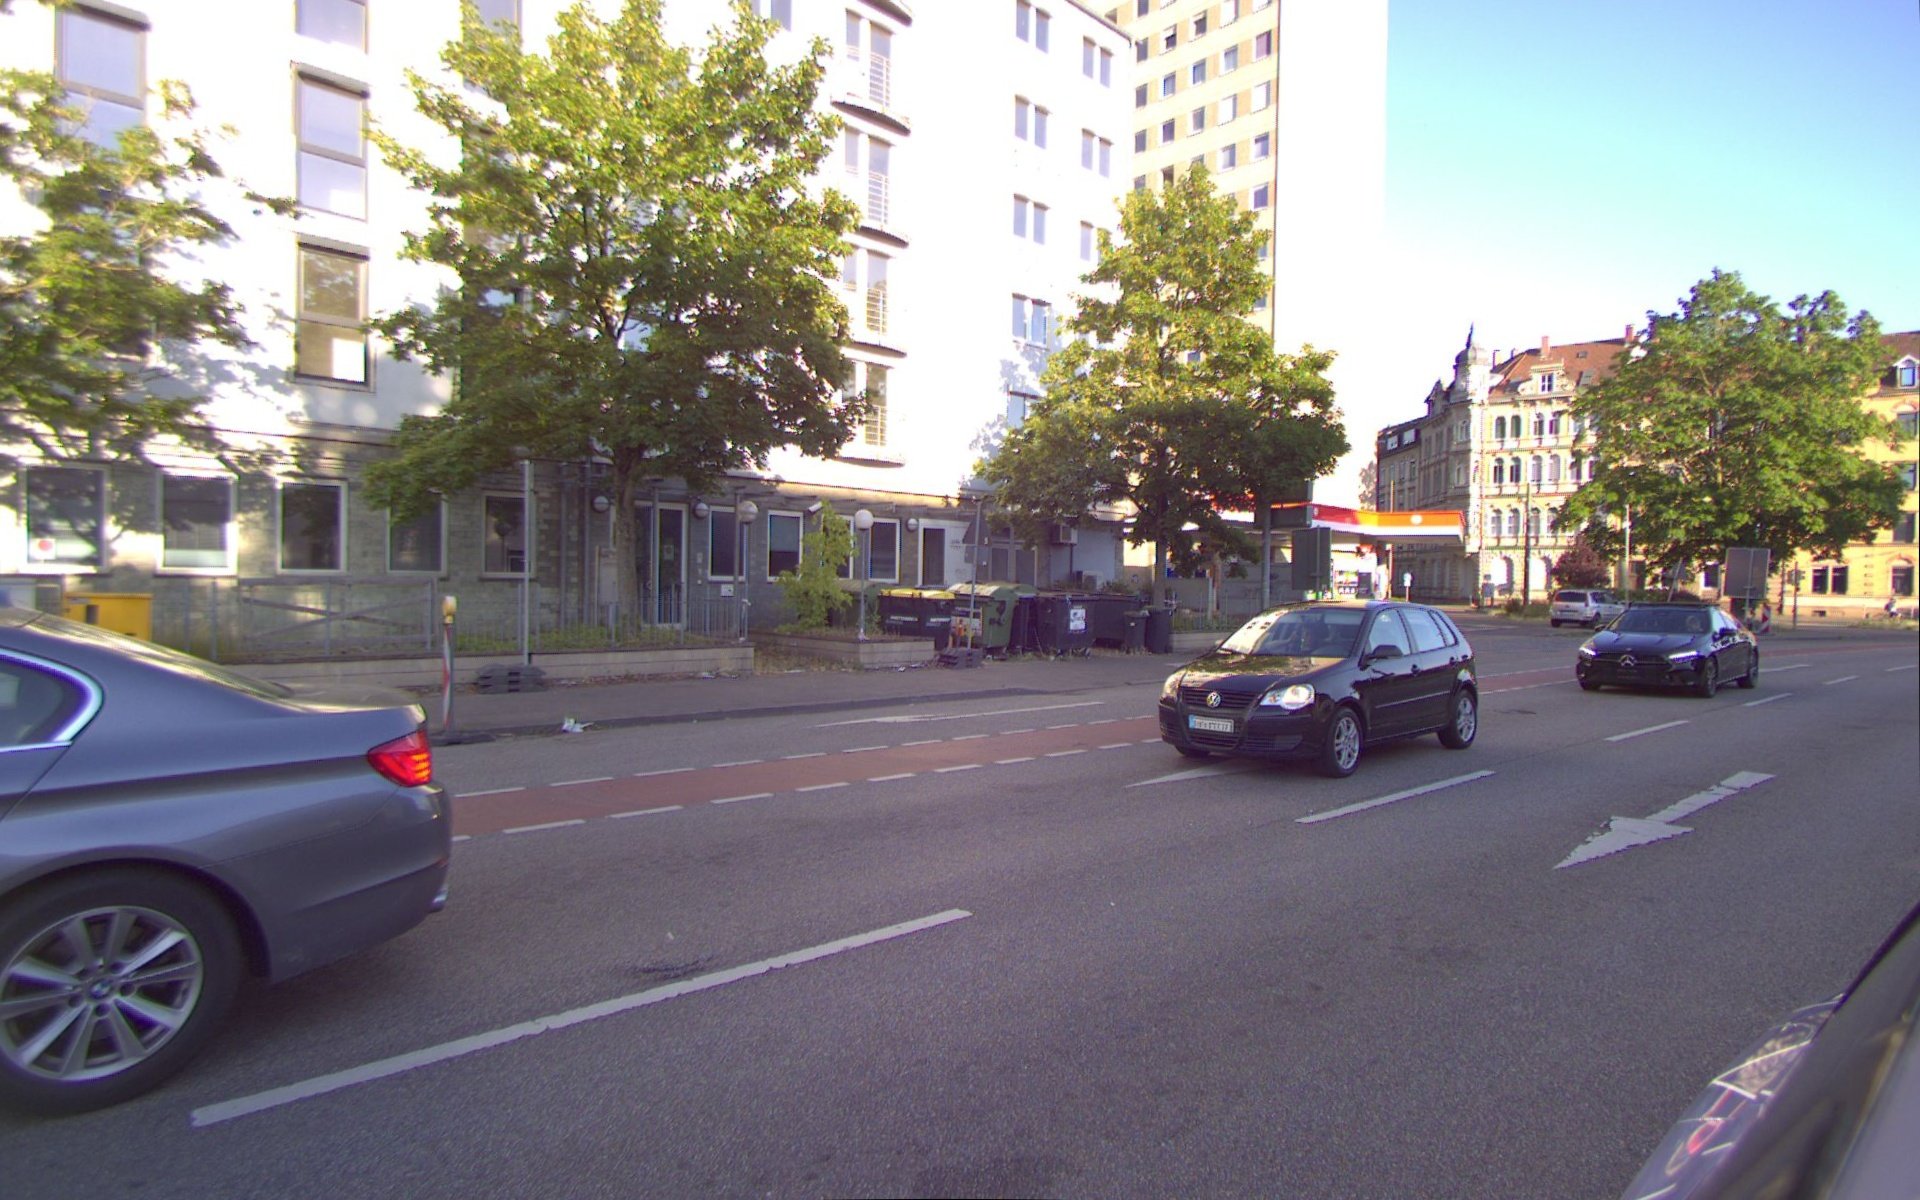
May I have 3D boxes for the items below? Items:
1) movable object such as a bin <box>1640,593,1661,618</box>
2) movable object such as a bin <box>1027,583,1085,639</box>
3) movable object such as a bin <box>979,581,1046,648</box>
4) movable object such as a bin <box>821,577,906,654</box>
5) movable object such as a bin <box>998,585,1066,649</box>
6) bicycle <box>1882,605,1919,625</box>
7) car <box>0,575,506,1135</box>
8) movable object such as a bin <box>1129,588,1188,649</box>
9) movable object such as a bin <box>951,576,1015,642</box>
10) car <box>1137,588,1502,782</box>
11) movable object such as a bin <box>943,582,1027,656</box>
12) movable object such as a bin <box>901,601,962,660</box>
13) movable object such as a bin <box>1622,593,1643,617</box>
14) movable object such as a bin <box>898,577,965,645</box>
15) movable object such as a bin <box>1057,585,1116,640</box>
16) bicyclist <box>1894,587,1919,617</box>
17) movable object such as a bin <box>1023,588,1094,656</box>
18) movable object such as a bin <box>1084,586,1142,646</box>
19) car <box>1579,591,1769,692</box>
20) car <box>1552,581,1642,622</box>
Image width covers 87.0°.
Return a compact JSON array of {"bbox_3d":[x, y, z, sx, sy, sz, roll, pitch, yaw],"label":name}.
[{"bbox_3d":[29.421,0.227,43.106,0.675,1.031,0.544,0,1,-36],"label":"movable object such as a bin"},{"bbox_3d":[2.402,0.255,25.355,1.080,1.345,0.954,0,1,-44],"label":"movable object such as a bin"},{"bbox_3d":[1.202,0.303,23.201,1.143,1.467,1.033,0,1,-44],"label":"movable object such as a bin"},{"bbox_3d":[-1.944,0.281,20.411,1.348,1.479,1.088,2,2,45],"label":"movable object such as a bin"},{"bbox_3d":[1.561,0.346,22.071,1.143,1.345,0.954,0,1,-44],"label":"movable object such as a bin"},{"bbox_3d":[53.703,0.866,57.507,1.920,1.072,0.444,2,1,43],"label":"bicycle"},{"bbox_3d":[-3.866,0.662,2.622,4.588,1.467,1.817,0,0,-43],"label":"car"},{"bbox_3d":[4.541,0.408,23.184,0.938,1.345,0.954,0,1,-43],"label":"movable object such as a bin"},{"bbox_3d":[0.554,0.189,24.194,1.143,1.517,1.033,0,1,-44],"label":"movable object such as a bin"},{"bbox_3d":[3.493,0.632,9.503,3.804,1.467,1.583,0,0,-41],"label":"car"},{"bbox_3d":[0.511,0.358,20.827,1.348,1.441,1.088,2,2,45],"label":"movable object such as a bin"},{"bbox_3d":[-0.557,0.569,19.480,0.851,1.058,0.807,2,1,45],"label":"movable object such as a bin"},{"bbox_3d":[29.107,0.211,43.792,0.675,1.031,0.544,0,1,-36],"label":"movable object such as a bin"},{"bbox_3d":[-0.663,0.231,23.632,1.143,1.517,1.033,0,1,-44],"label":"movable object such as a bin"},{"bbox_3d":[3.082,0.286,24.626,1.080,1.299,0.954,0,1,-44],"label":"movable object such as a bin"},{"bbox_3d":[53.800,0.126,57.496,1.062,1.669,0.721,2,1,43],"label":"bicyclist"},{"bbox_3d":[2.057,0.431,21.088,1.143,1.345,0.954,0,1,-44],"label":"movable object such as a bin"},{"bbox_3d":[3.583,0.356,23.661,0.938,1.345,0.954,0,1,-43],"label":"movable object such as a bin"},{"bbox_3d":[11.827,0.591,16.671,3.976,1.467,1.730,0,0,-42],"label":"car"},{"bbox_3d":[25.769,0.029,40.913,3.723,1.535,1.691,-1,2,-34],"label":"car"}]
